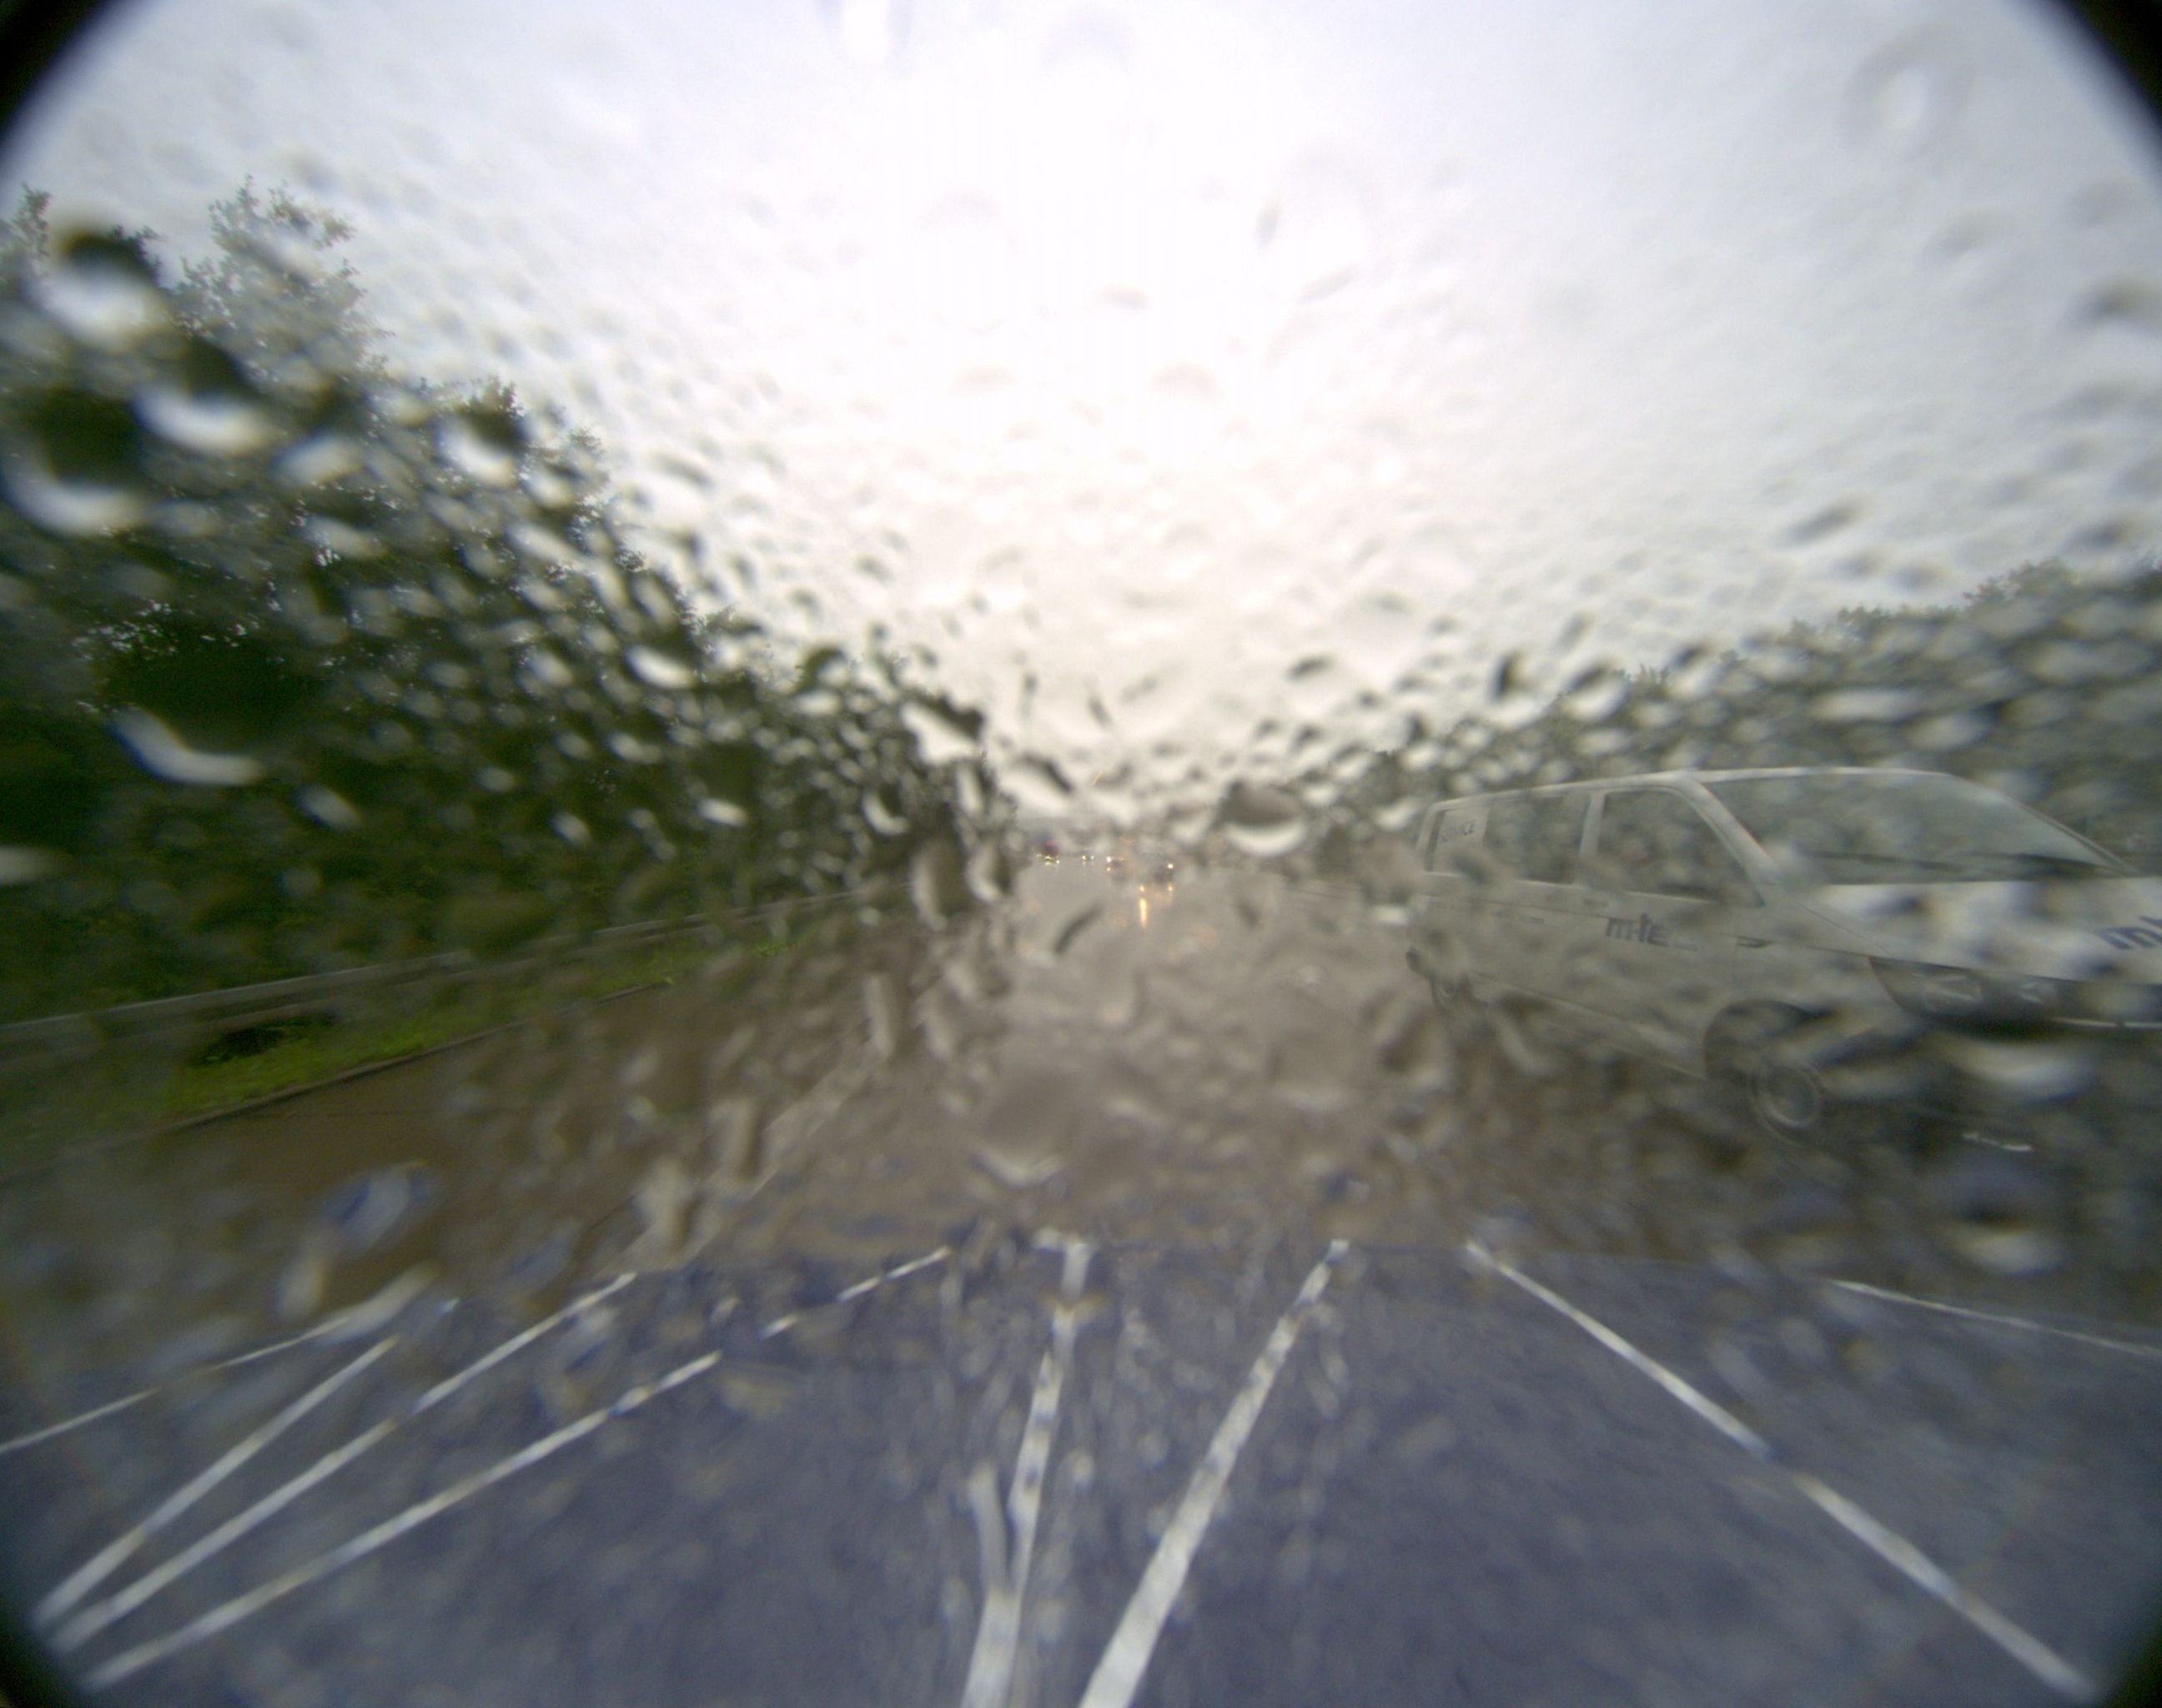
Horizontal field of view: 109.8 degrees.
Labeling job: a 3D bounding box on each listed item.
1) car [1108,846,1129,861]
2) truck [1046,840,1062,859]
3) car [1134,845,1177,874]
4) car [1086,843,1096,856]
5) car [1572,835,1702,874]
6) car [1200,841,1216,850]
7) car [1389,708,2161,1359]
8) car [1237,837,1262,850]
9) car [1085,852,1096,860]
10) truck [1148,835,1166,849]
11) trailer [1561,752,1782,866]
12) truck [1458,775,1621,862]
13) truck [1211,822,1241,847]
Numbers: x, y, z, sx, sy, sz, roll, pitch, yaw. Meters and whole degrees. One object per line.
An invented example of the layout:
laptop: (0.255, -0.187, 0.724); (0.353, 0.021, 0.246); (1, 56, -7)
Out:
car: (3.672, -0.112, 75.036); (1.934, 1.426, 4.517); (1, 1, 0)
truck: (-6.138, -0.968, 173.827); (3.058, 3.994, 10.045); (1, -2, 2)
car: (3.905, 0.271, 40.588); (1.934, 1.426, 4.518); (1, 1, 1)
car: (2.038, -1.012, 159.139); (2.045, 2.616, 6.403); (1, 1, 0)
car: (21.307, 0.011, 29.389); (1.757, 1.331, 4.424); (-3, 0, 0)
car: (19.240, -1.282, 115.217); (1.757, 1.331, 4.424); (-3, 0, 0)
car: (3.974, 0.492, 4.711); (1.905, 1.883, 5.041); (-1, 0, -2)
car: (20.253, -1.239, 91.398); (1.757, 1.523, 5.270); (-3, 0, 0)
car: (1.720, 0.313, 133.527); (1.934, 1.426, 4.518); (1, 1, 1)
truck: (18.231, -2.816, 182.666); (2.781, 3.296, 11.512); (-3, 0, -2)
trailer: (24.868, -1.719, 32.790); (2.855, 4.130, 8.524); (-3, 0, 0)
truck: (24.933, -1.755, 42.205); (2.855, 4.130, 10.177); (-3, 0, 0)
truck: (22.622, -2.978, 119.173); (2.591, 3.679, 9.798); (-3, 0, -1)
